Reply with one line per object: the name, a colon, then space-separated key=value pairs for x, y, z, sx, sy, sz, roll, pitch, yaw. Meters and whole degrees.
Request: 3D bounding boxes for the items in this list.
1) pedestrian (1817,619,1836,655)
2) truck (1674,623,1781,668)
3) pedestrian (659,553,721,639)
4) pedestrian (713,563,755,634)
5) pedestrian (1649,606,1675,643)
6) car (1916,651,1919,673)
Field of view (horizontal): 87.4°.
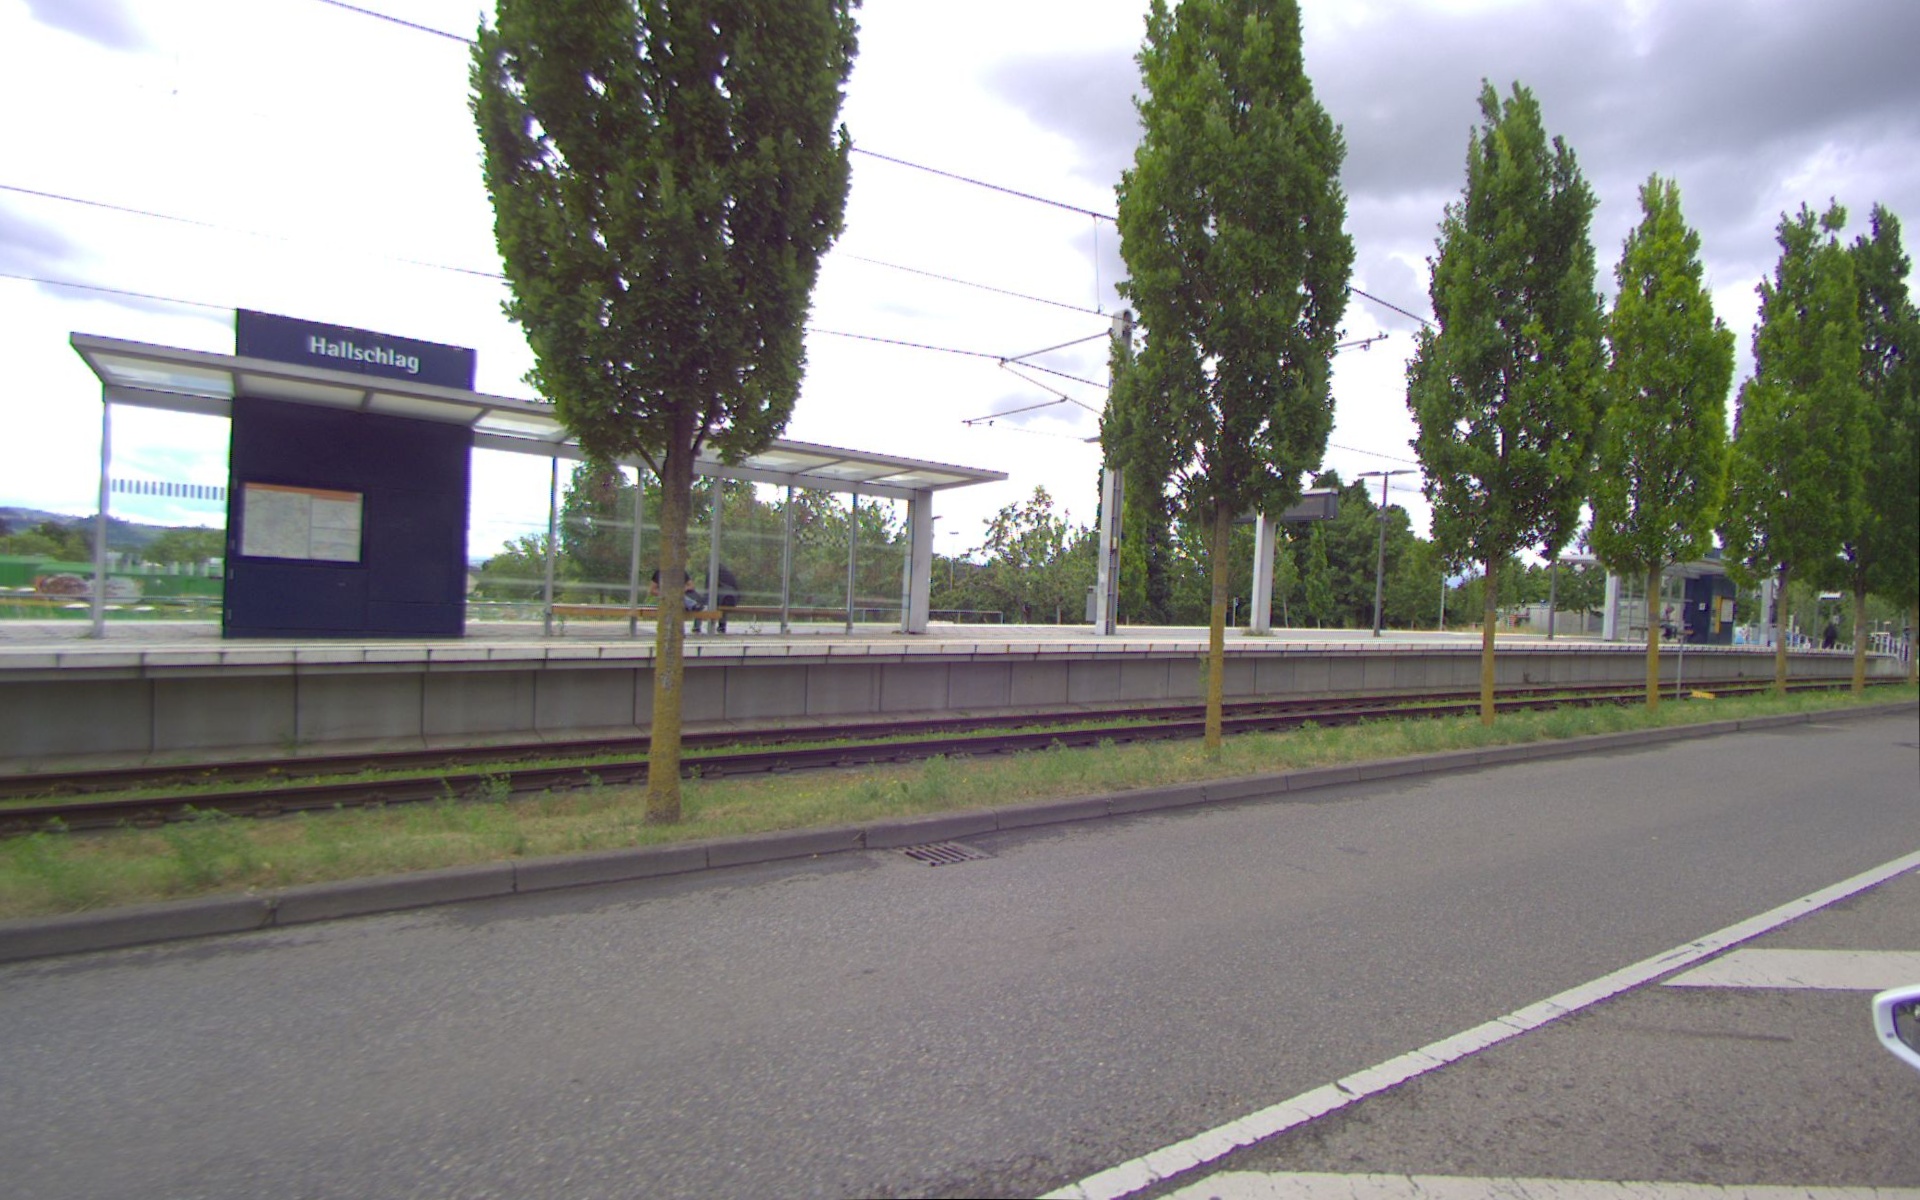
pedestrian: x=45.708 y=1.942 z=52.968 sx=0.786 sy=1.851 sz=0.568 roll=3 pitch=-1 yaw=-37
truck: x=68.615 y=3.959 z=89.969 sx=2.659 sy=3.647 sz=7.209 roll=0 pitch=0 yaw=-28
pedestrian: x=-3.936 y=-0.049 z=14.641 sx=0.658 sy=1.215 sz=0.757 roll=1 pitch=0 yaw=-33
pedestrian: x=-3.576 y=-0.018 z=15.891 sx=0.465 sy=1.093 sz=0.603 roll=0 pitch=1 yaw=-33
pedestrian: x=24.935 y=0.877 z=35.664 sx=0.654 sy=1.286 sz=0.605 roll=0 pitch=1 yaw=-38
car: x=71.975 y=4.570 z=72.383 sx=1.972 sy=1.617 sz=3.977 roll=0 pitch=0 yaw=-23
